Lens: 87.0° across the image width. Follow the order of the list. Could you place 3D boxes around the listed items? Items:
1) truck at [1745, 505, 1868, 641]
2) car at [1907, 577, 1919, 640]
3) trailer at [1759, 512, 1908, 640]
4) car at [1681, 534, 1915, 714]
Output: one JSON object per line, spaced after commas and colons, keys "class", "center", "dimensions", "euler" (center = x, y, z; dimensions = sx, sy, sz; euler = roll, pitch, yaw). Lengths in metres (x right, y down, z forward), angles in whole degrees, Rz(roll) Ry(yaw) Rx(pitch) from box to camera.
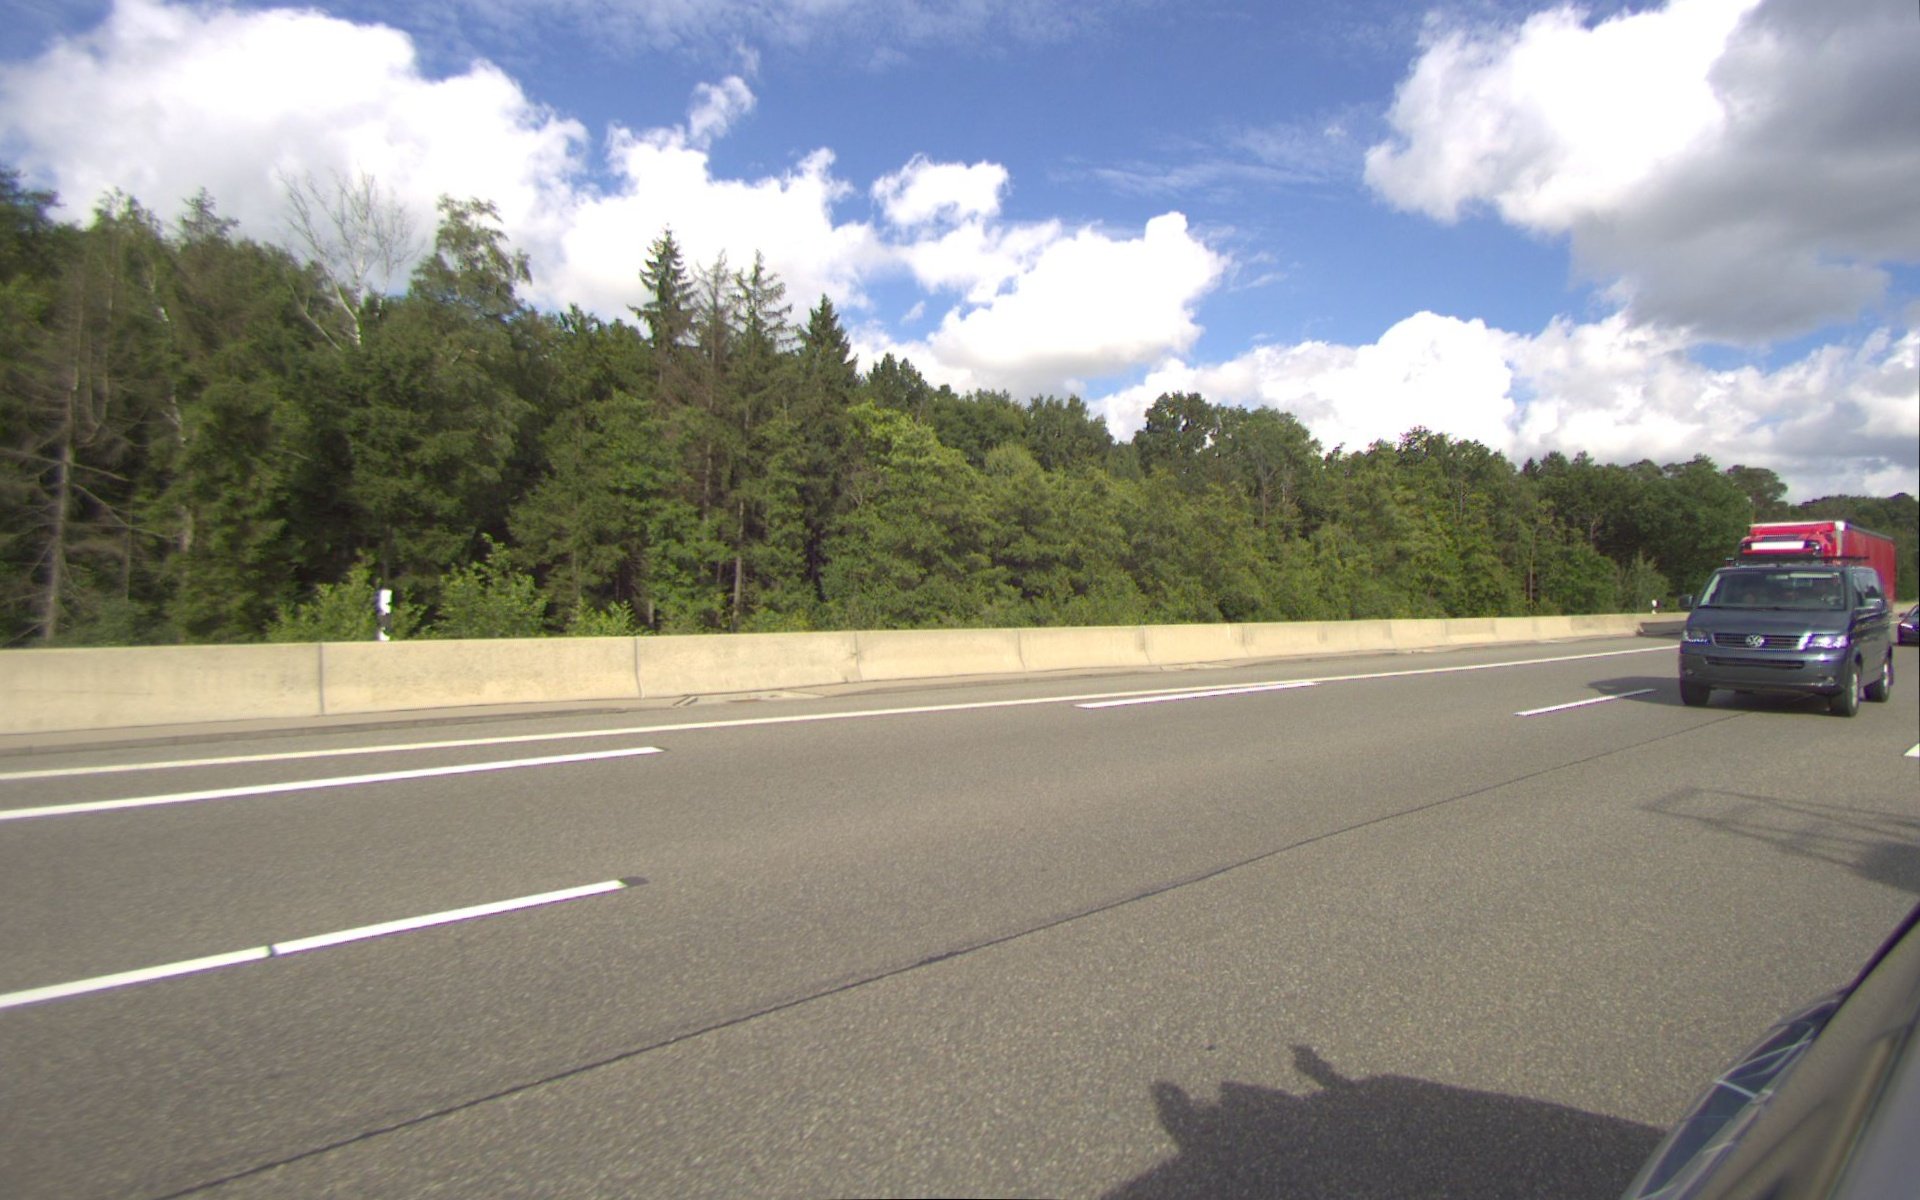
{"class": "truck", "center": [28.710, -0.893, 34.282], "dimensions": [4.573, 4.255, 2.530], "euler": [0, 1, -41]}
{"class": "car", "center": [33.029, 0.270, 33.489], "dimensions": [3.929, 2.039, 1.997], "euler": [0, -1, -40]}
{"class": "trailer", "center": [33.725, -0.877, 38.748], "dimensions": [14.129, 4.171, 2.528], "euler": [-1, 1, -42]}
{"class": "car", "center": [12.239, 0.280, 14.653], "dimensions": [4.876, 2.193, 1.925], "euler": [0, 1, -42]}
